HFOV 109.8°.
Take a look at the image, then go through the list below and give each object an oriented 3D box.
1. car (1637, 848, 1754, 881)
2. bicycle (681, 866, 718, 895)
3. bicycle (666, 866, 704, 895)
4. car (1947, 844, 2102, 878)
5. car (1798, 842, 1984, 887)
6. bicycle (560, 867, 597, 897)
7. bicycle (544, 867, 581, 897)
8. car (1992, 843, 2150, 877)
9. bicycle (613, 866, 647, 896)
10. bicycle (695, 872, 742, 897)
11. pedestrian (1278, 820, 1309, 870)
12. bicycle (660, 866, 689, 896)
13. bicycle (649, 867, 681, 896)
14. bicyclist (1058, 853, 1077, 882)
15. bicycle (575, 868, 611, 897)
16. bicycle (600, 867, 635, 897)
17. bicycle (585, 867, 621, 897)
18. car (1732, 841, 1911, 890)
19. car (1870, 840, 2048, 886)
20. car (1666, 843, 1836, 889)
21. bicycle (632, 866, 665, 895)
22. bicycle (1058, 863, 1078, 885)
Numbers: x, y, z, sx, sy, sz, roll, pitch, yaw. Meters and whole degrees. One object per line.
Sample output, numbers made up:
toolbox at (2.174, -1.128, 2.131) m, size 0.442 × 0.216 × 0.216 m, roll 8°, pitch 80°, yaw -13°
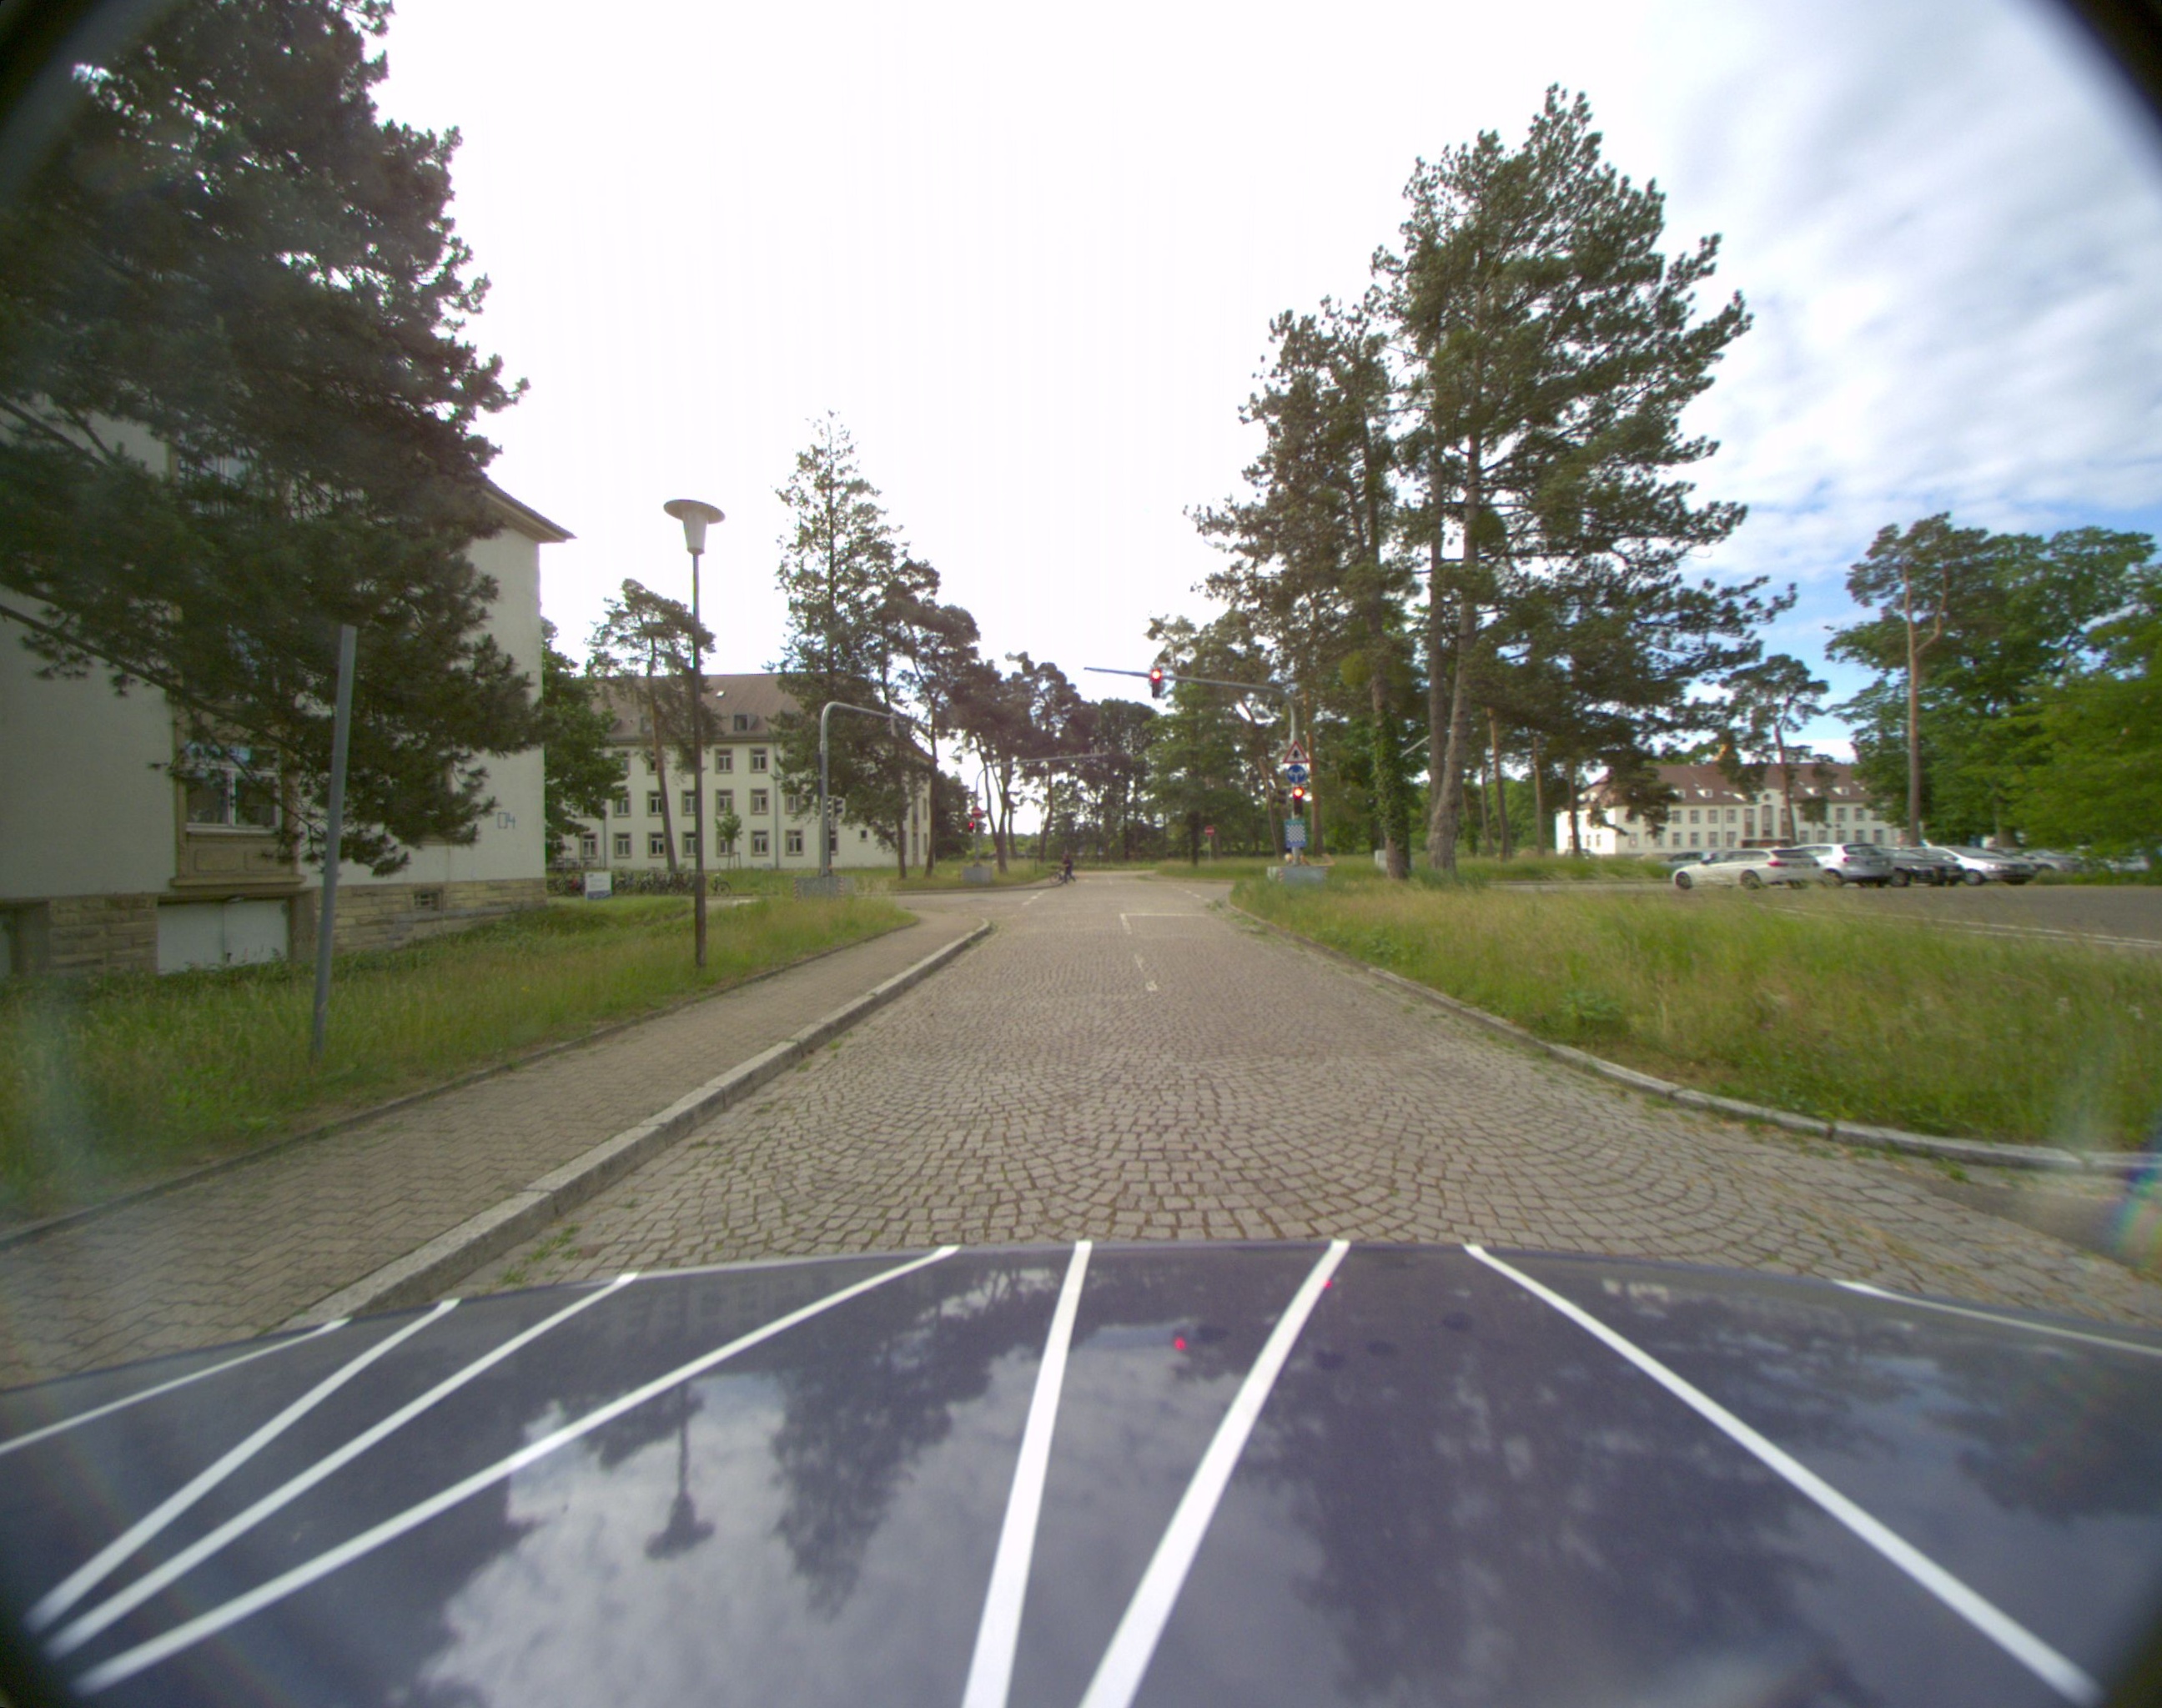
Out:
car at (30.870, 0.581, 38.389) m, size 1.841 × 1.537 × 4.583 m, roll -1°, pitch -2°, yaw -6°
bicycle at (-17.983, 1.236, 35.829) m, size 0.572 × 1.324 × 1.839 m, roll -1°, pitch 0°, yaw 9°
bicycle at (-18.613, 1.234, 35.726) m, size 0.572 × 1.324 × 1.839 m, roll -1°, pitch 0°, yaw 9°
car at (46.337, 0.404, 37.503) m, size 1.840 × 1.549 × 4.585 m, roll -1°, pitch -2°, yaw -1°
car at (28.890, 0.419, 27.374) m, size 1.839 × 1.460 × 4.586 m, roll -1°, pitch -2°, yaw 2°
bicycle at (-23.654, 1.302, 35.801) m, size 0.572 × 1.324 × 1.837 m, roll -1°, pitch 0°, yaw -4°
bicycle at (-24.366, 1.309, 35.744) m, size 0.572 × 1.324 × 1.837 m, roll -1°, pitch 0°, yaw -4°
car at (49.366, 0.357, 38.052) m, size 1.840 × 1.564 × 4.585 m, roll -1°, pitch -2°, yaw -1°
bicycle at (-21.164, 1.261, 35.678) m, size 0.572 × 1.324 × 1.837 m, roll -1°, pitch 0°, yaw -4°
bicycle at (-16.330, 1.360, 34.209) m, size 1.836 × 1.079 × 0.573 m, roll -1°, pitch 2°, yaw 5°
pedestrian at (6.571, -0.279, 23.513) m, size 0.882 × 1.509 × 0.822 m, roll -1°, pitch 0°, yaw 16°
bicycle at (-19.110, 1.255, 35.747) m, size 0.482 × 1.324 × 1.837 m, roll -1°, pitch 0°, yaw -4°
bicycle at (-19.542, 1.273, 35.766) m, size 0.572 × 1.324 × 1.837 m, roll -1°, pitch 0°, yaw -4°
bicyclist at (-0.780, 0.787, 44.618) m, size 0.963 × 1.625 × 0.918 m, roll -1°, pitch 0°, yaw 5°
bicycle at (-23.055, 1.339, 35.940) m, size 0.572 × 1.324 × 1.837 m, roll -1°, pitch 0°, yaw -4°
bicycle at (-21.729, 1.285, 35.662) m, size 0.572 × 1.324 × 1.837 m, roll -1°, pitch 0°, yaw -4°
bicycle at (-22.450, 1.315, 35.727) m, size 0.572 × 1.324 × 1.837 m, roll -1°, pitch 0°, yaw -4°
car at (26.237, 0.449, 27.210) m, size 1.840 × 1.568 × 4.585 m, roll -1°, pitch -2°, yaw -1°
car at (31.642, 0.364, 27.590) m, size 1.736 × 1.512 × 4.115 m, roll -1°, pitch -2°, yaw 2°
car at (23.622, 0.464, 27.080) m, size 1.840 × 1.441 × 4.656 m, roll -1°, pitch -2°, yaw -1°
bicycle at (-20.309, 1.227, 35.716) m, size 0.572 × 1.324 × 1.837 m, roll -1°, pitch 0°, yaw -4°
bicycle at (-0.739, 1.157, 44.569) m, size 0.963 × 1.268 × 2.164 m, roll -1°, pitch 0°, yaw 5°
